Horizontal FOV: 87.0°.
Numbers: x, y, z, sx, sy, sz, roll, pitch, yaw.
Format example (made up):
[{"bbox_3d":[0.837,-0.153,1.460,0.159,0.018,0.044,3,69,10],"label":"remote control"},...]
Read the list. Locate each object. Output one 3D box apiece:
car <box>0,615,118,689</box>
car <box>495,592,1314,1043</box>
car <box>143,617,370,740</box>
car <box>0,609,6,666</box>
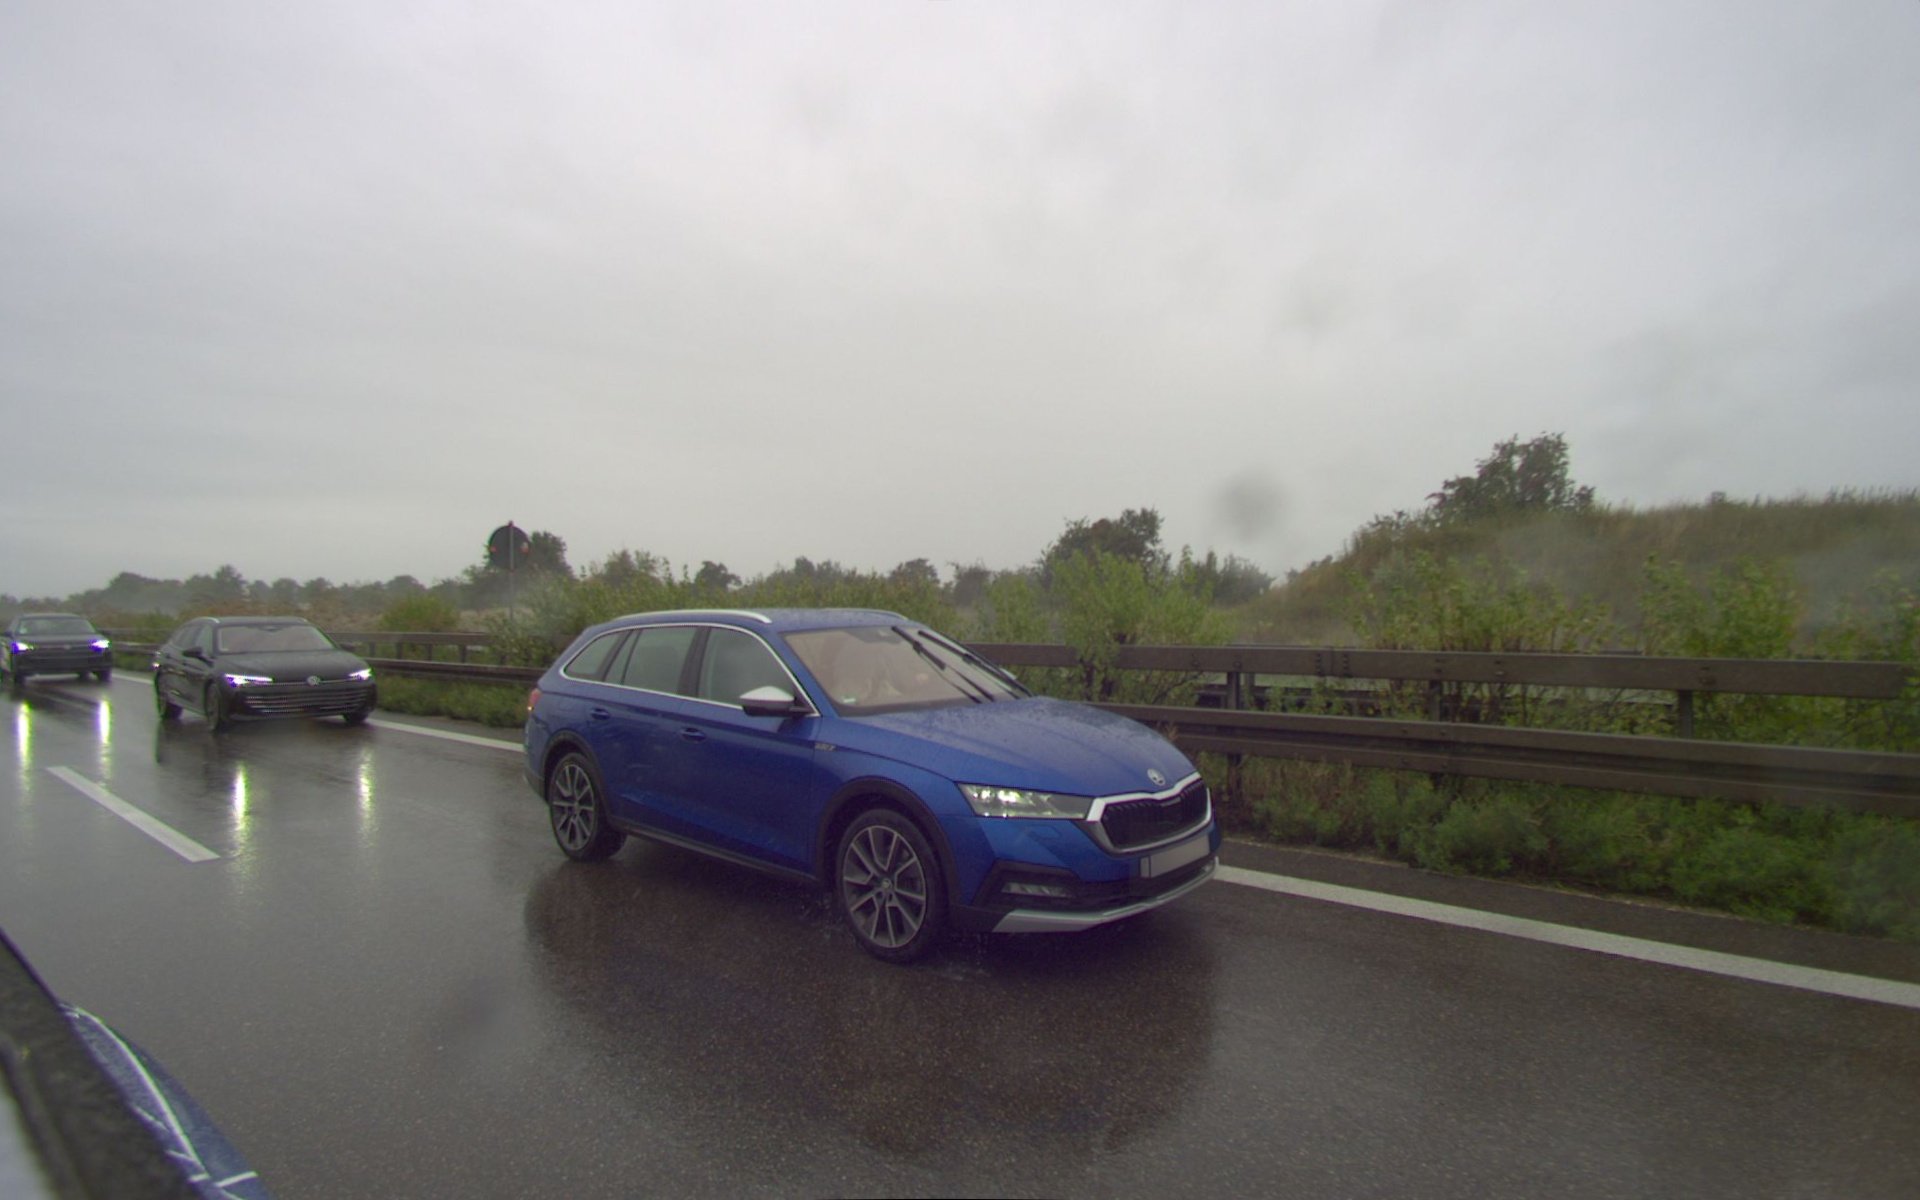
[{"bbox_3d":[-22.239,1.213,24.745,4.266,1.644,1.864,-1,-1,41],"label":"car"},{"bbox_3d":[-0.638,0.760,5.510,4.509,1.487,1.767,-1,-1,41],"label":"car"},{"bbox_3d":[-9.873,0.979,14.072,4.368,1.447,1.592,-1,-1,41],"label":"car"},{"bbox_3d":[-36.157,1.381,36.848,4.270,2.029,1.863,-1,-1,44],"label":"car"}]
